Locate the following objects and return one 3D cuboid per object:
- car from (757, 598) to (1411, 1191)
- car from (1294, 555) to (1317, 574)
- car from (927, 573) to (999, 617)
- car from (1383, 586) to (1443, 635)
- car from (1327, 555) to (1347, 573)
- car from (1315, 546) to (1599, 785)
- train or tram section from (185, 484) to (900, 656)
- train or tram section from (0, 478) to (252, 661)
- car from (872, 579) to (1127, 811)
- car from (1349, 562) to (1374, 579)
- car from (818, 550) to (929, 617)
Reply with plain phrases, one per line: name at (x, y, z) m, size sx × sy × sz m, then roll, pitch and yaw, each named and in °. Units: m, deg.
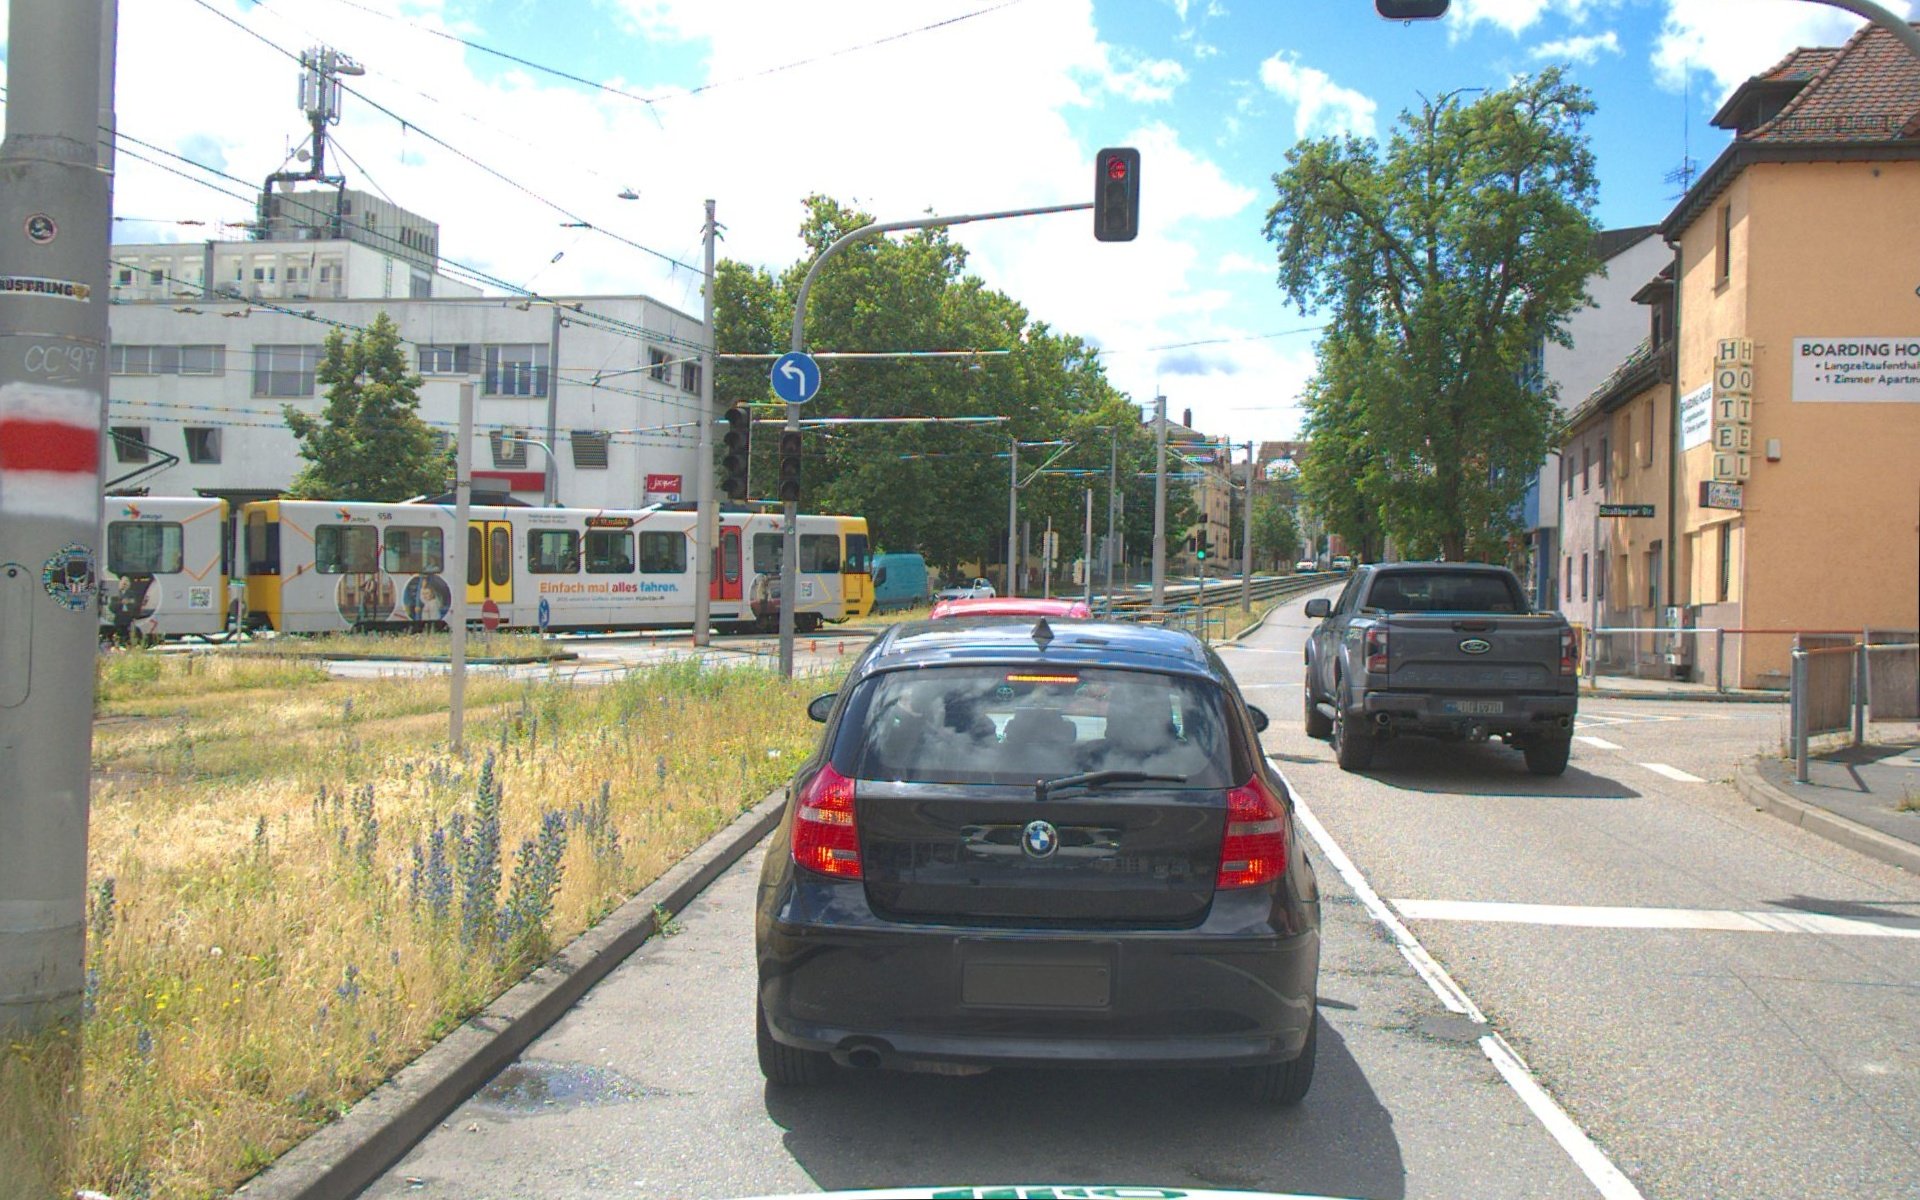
car at (0.220, 0.760, 6.205) m, size 1.667 × 1.477 × 3.997 m, roll 0°, pitch -1°, yaw -3°
car at (39.409, -4.072, 188.406) m, size 1.952 × 2.049 × 4.000 m, roll -1°, pitch -1°, yaw 21°
car at (0.167, -0.208, 78.009) m, size 1.814 × 1.962 × 4.798 m, roll -1°, pitch -1°, yaw 21°
car at (15.386, 0.366, 56.260) m, size 1.749 × 1.624 × 4.003 m, roll 0°, pitch -1°, yaw 12°
car at (47.411, -4.493, 207.833) m, size 1.952 × 2.049 × 4.000 m, roll -1°, pitch -1°, yaw 21°
car at (4.581, 0.558, 16.023) m, size 1.956 × 1.920 × 5.154 m, roll 0°, pitch -1°, yaw 9°
train or tram section at (-10.333, -0.631, 45.604) m, size 19.889 × 3.881 × 3.702 m, roll 0°, pitch -1°, yaw -43°
train or tram section at (-26.291, -0.635, 35.489) m, size 20.285 × 3.947 × 3.735 m, roll 0°, pitch -1°, yaw -23°
car at (0.453, 0.640, 12.803) m, size 1.590 × 1.499 × 4.003 m, roll 0°, pitch -1°, yaw 7°
car at (34.658, -2.534, 142.607) m, size 1.777 × 1.494 × 4.002 m, roll 0°, pitch 0°, yaw 19°
car at (-3.567, -0.635, 69.640) m, size 2.089 × 2.701 × 5.683 m, roll -1°, pitch -1°, yaw 27°
